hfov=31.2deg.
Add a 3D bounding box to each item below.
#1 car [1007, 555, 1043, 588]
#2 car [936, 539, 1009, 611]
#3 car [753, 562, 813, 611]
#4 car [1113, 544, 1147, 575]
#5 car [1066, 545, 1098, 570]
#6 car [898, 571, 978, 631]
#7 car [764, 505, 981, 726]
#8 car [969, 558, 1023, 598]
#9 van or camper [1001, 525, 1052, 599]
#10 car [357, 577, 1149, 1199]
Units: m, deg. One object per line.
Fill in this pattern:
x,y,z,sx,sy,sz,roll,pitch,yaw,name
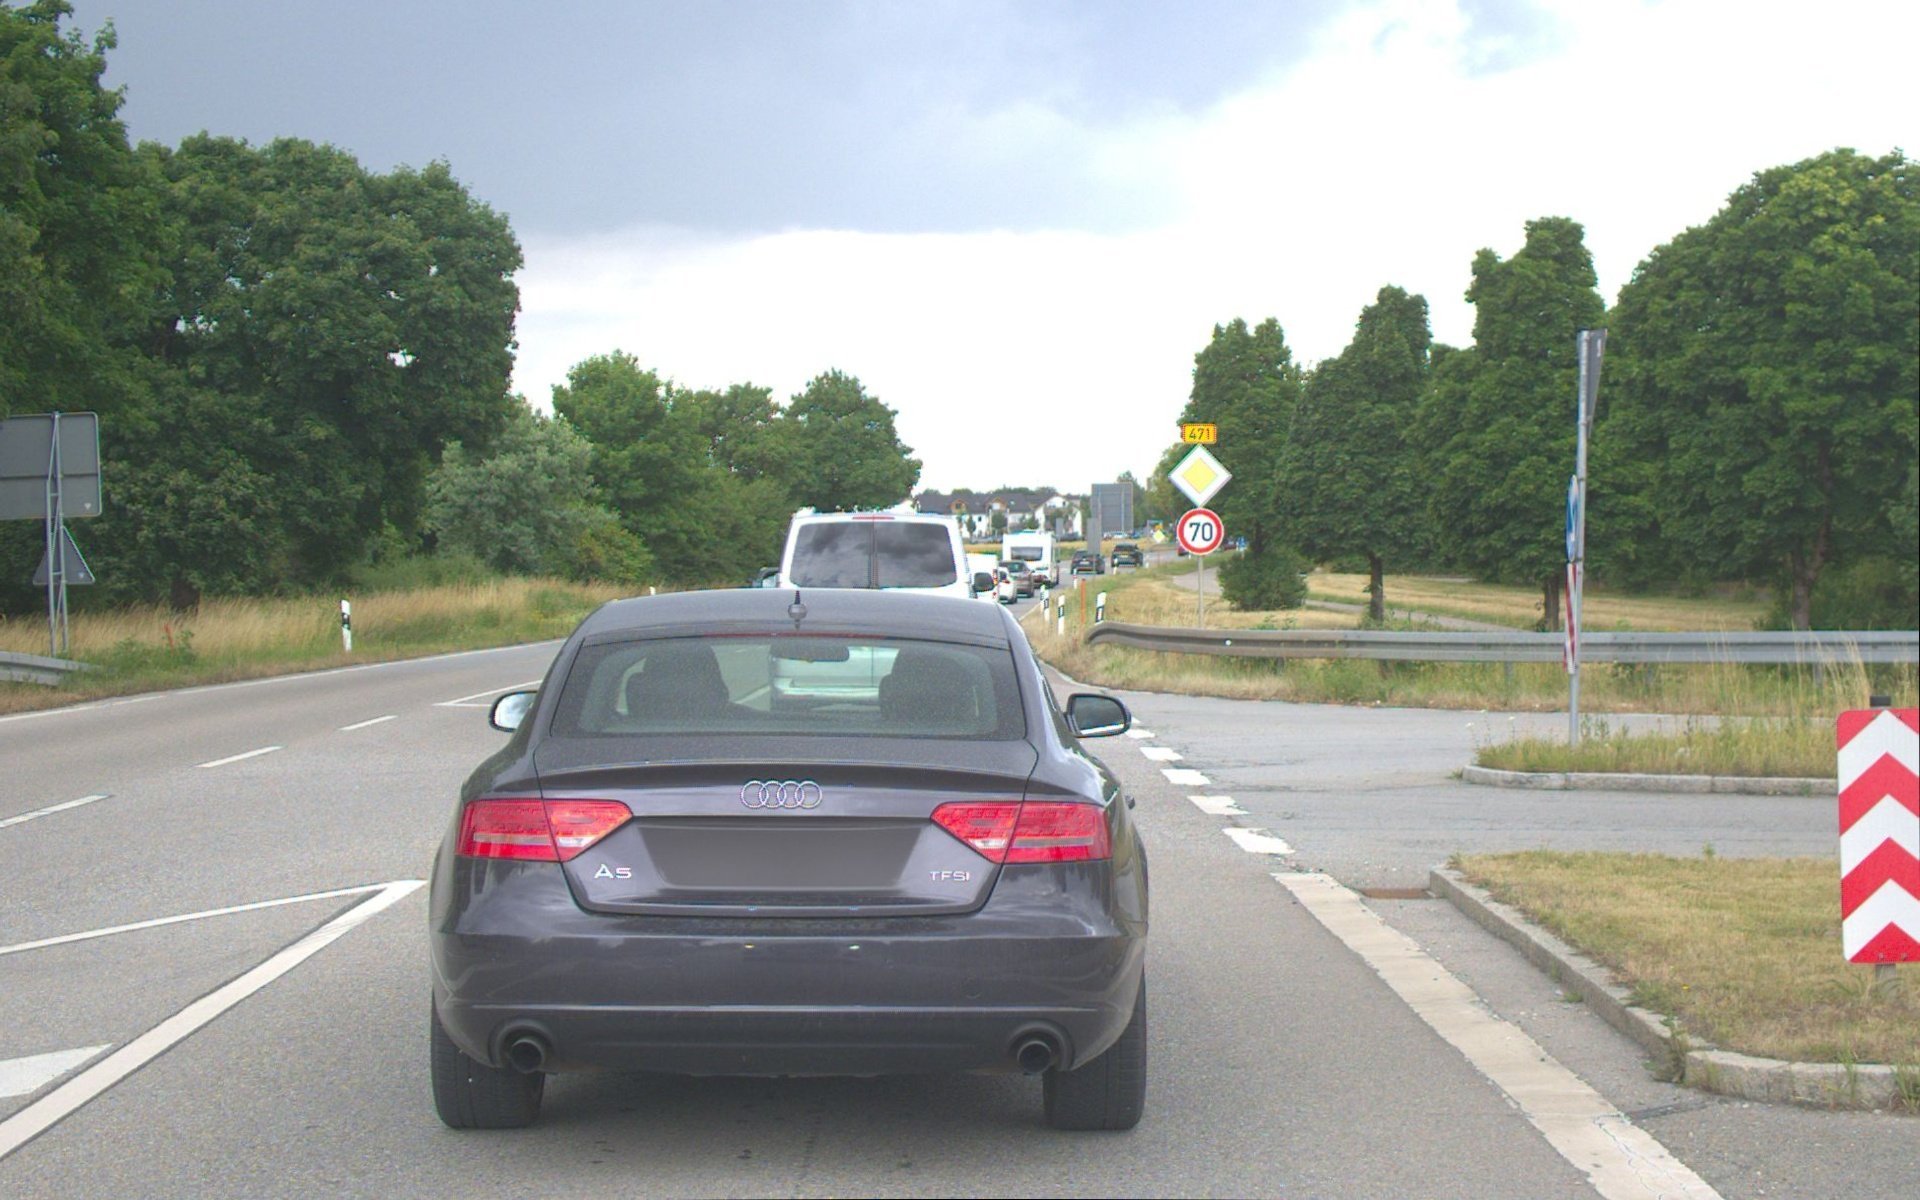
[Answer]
2.733,-1.209,144.297,1.258,1.349,3.465,0,1,5,car
0.380,-0.741,100.933,1.994,2.081,4.000,0,1,2,car
-5.556,-0.434,108.101,1.711,1.517,4.000,0,1,0,car
11.231,-2.700,227.470,1.993,2.007,4.000,0,1,-1,car
7.118,-2.496,200.424,1.719,1.446,4.000,1,1,1,car
-0.529,0.010,85.799,1.796,1.459,3.248,0,1,3,car
-0.774,0.099,31.524,1.838,1.876,4.000,1,1,-1,car
1.387,-0.858,131.072,1.736,1.509,3.746,0,1,5,car
3.167,-1.793,162.522,2.340,3.469,5.718,0,1,2,van or camper
-0.495,0.655,9.814,1.783,1.372,4.000,1,1,-1,car
